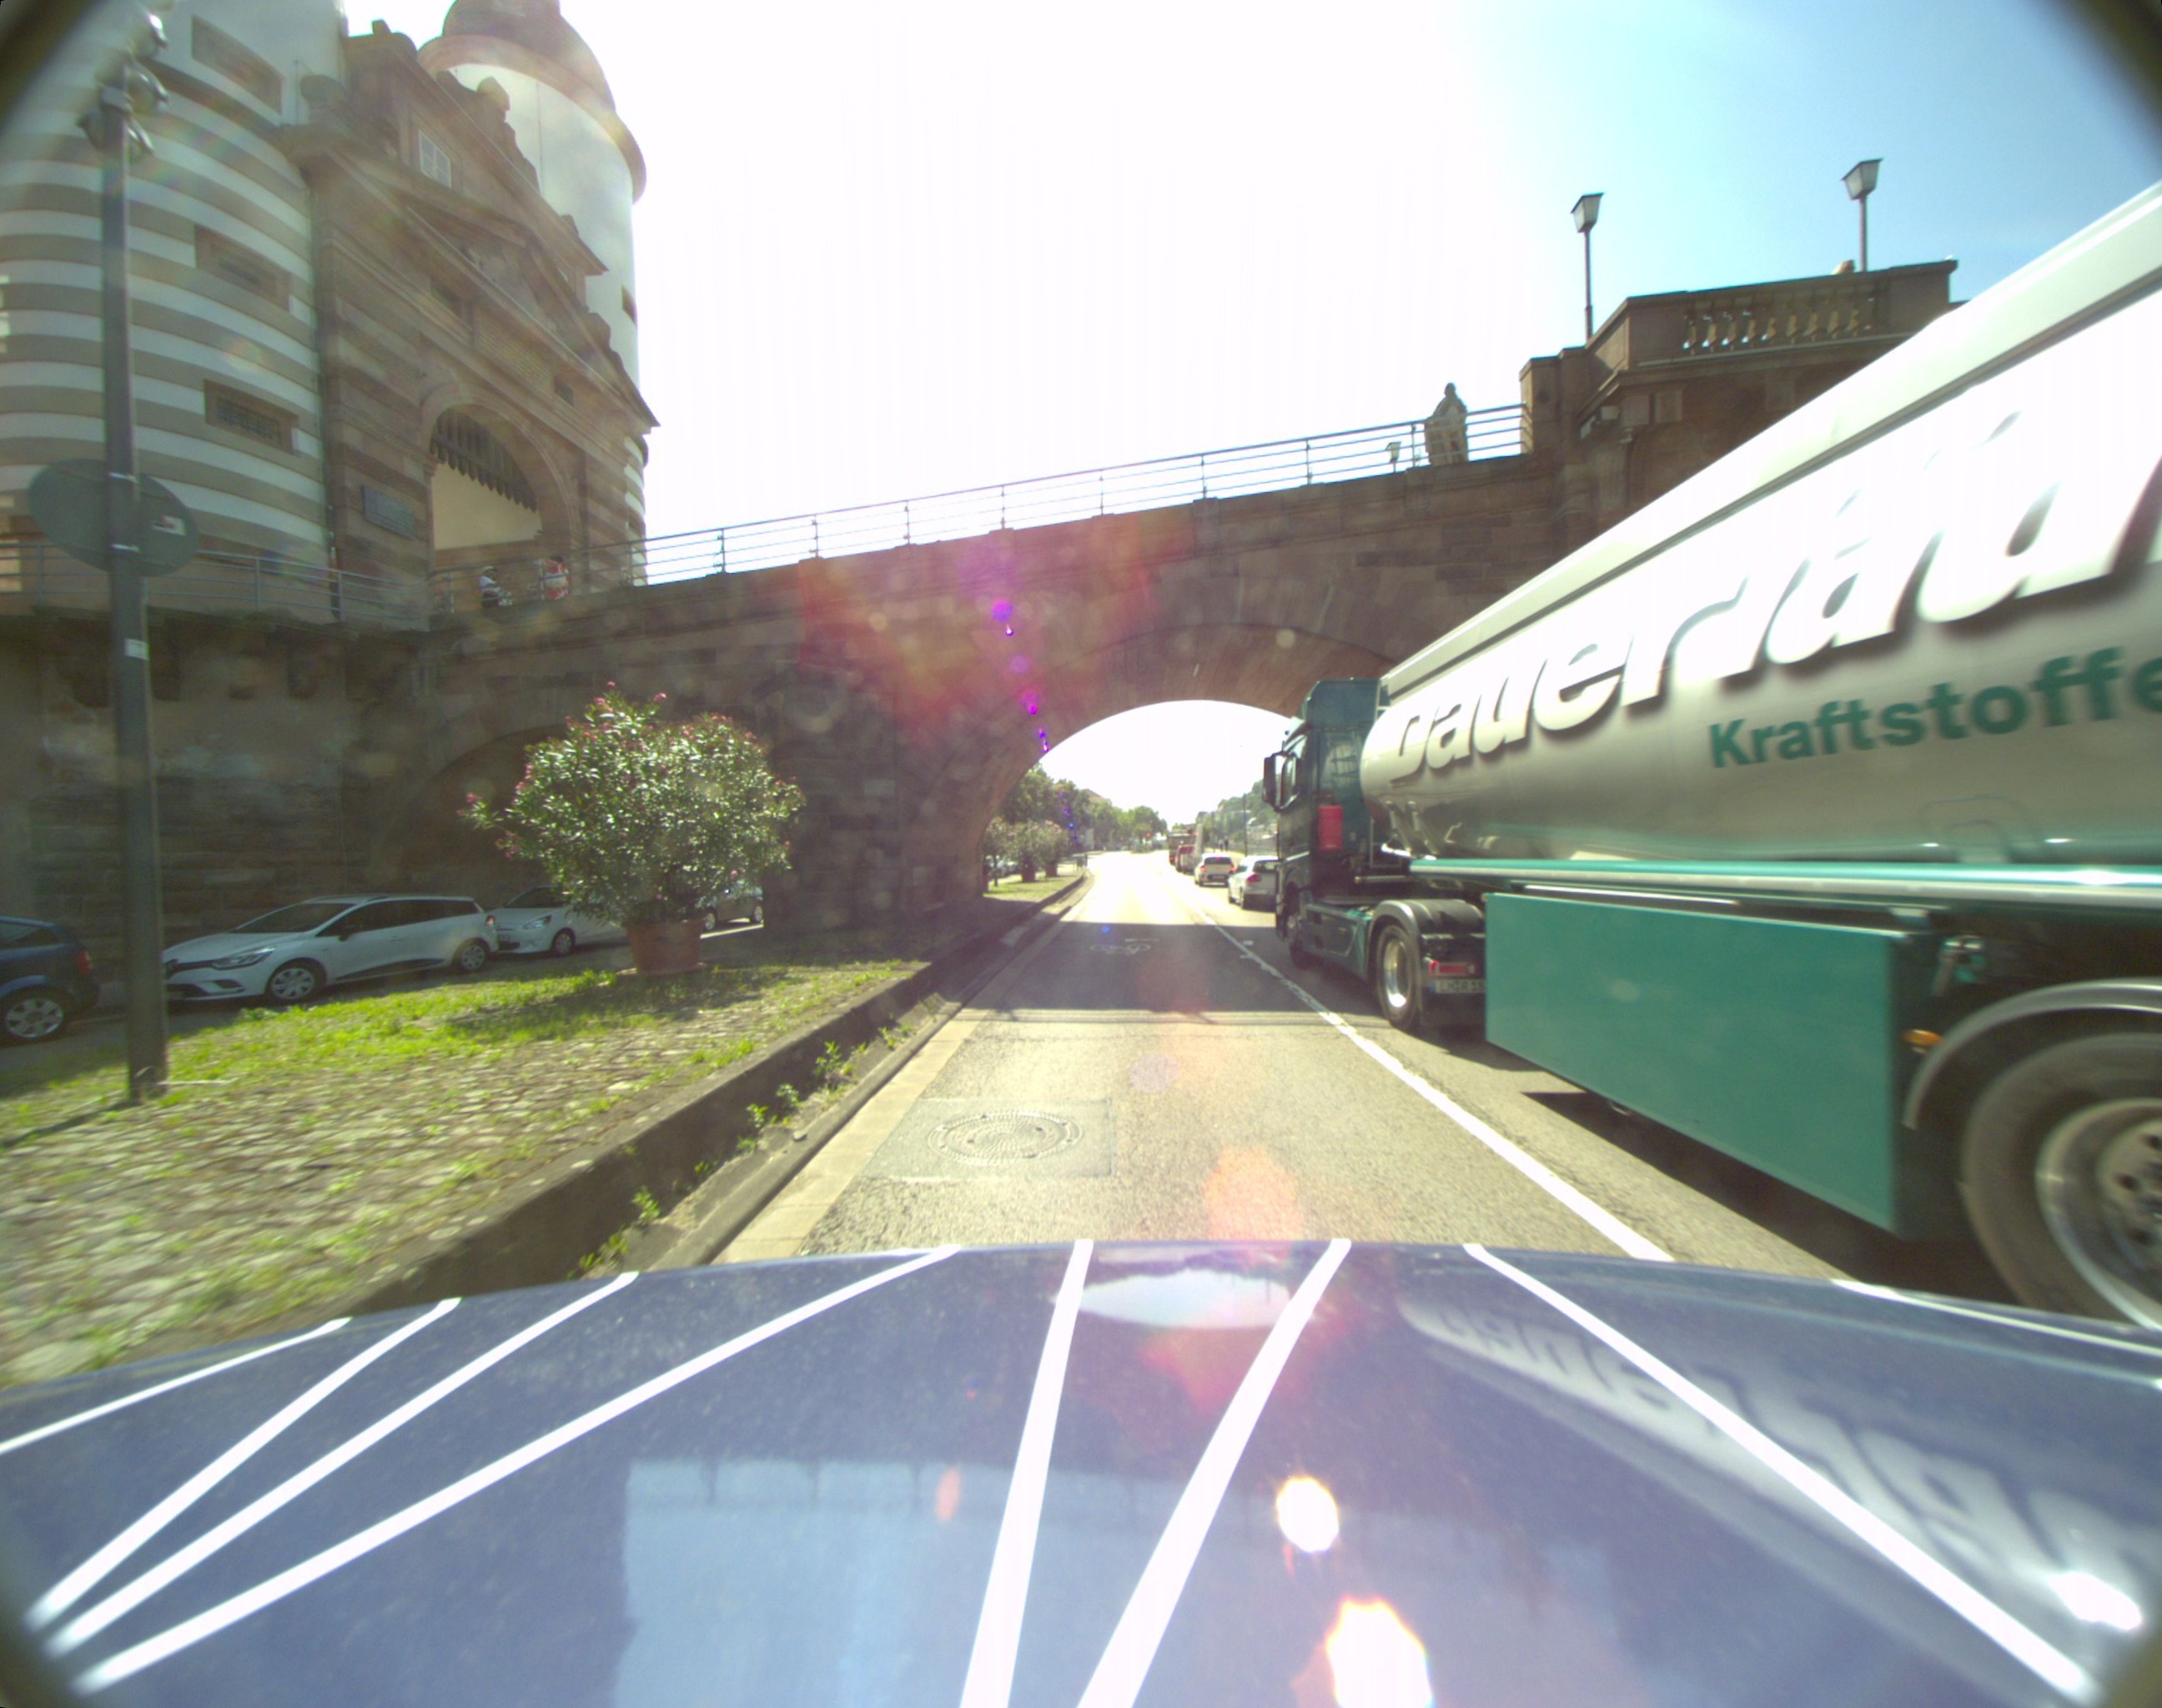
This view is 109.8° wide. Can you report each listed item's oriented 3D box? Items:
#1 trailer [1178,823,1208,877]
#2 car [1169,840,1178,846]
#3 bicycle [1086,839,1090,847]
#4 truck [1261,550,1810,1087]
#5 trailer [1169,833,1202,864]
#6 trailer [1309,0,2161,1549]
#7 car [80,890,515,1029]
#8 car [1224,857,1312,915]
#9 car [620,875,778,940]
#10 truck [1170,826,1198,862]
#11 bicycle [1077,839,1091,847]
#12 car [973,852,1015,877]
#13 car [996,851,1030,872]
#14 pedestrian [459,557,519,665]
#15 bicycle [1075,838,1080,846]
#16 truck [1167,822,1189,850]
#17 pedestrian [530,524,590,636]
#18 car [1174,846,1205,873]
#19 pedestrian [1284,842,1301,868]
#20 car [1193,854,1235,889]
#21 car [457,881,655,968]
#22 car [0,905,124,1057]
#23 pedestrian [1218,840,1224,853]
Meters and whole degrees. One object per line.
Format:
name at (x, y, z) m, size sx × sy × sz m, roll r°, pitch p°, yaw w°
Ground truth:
trailer at (7.178, -0.277, 49.027) m, size 1.745 × 3.301 × 3.384 m, roll 0°, pitch 1°, yaw 5°
car at (23.180, -2.739, 191.122) m, size 1.998 × 1.444 × 4.262 m, roll -2°, pitch 1°, yaw 4°
bicycle at (1.188, -1.726, 122.185) m, size 0.476 × 1.255 × 2.163 m, roll 1°, pitch 2°, yaw 5°
truck at (3.905, -0.222, 8.436) m, size 2.530 × 3.726 × 6.247 m, roll 0°, pitch 0°, yaw 2°
trailer at (9.107, -0.521, 66.862) m, size 2.703 × 2.517 × 6.948 m, roll 0°, pitch 2°, yaw 7°
trailer at (3.800, -0.200, 3.008) m, size 2.530 × 3.622 × 11.531 m, roll -1°, pitch 0°, yaw 1°
car at (-11.571, 1.449, 11.804) m, size 1.897 × 1.484 × 4.418 m, roll -1°, pitch 1°, yaw 6°
car at (5.281, 0.839, 21.955) m, size 1.727 × 1.428 × 4.401 m, roll 0°, pitch 1°, yaw 4°
car at (-10.581, 1.419, 21.506) m, size 1.779 × 1.428 × 4.494 m, roll -2°, pitch 1°, yaw 6°
truck at (10.160, -1.043, 75.505) m, size 2.647 × 3.437 × 7.872 m, roll 0°, pitch 2°, yaw 7°
bicycle at (0.498, -1.780, 125.147) m, size 2.159 × 1.360 × 0.477 m, roll 1°, pitch 2°, yaw 7°
car at (-5.814, 0.684, 51.459) m, size 1.757 × 1.424 × 4.757 m, roll -2°, pitch 1°, yaw 6°
car at (-4.983, 0.520, 56.119) m, size 1.615 × 1.405 × 3.905 m, roll -2°, pitch 1°, yaw 9°
pedestrian at (-12.341, -5.041, 15.860) m, size 0.580 × 2.002 × 0.707 m, roll -1°, pitch 2°, yaw 4°
bicycle at (-0.529, -1.714, 109.308) m, size 0.345 × 1.106 × 1.920 m, roll -1°, pitch 1°, yaw 11°
truck at (12.970, -2.364, 100.676) m, size 2.647 × 3.457 × 11.111 m, roll -1°, pitch 1°, yaw 8°
pedestrian at (-10.723, -5.618, 15.661) m, size 0.640 × 2.002 × 0.707 m, roll -1°, pitch 2°, yaw 4°
car at (7.589, 0.356, 53.639) m, size 1.878 × 1.817 × 4.545 m, roll 0°, pitch 1°, yaw 4°
pedestrian at (14.068, 0.043, 50.619) m, size 0.818 × 1.691 × 1.151 m, roll -2°, pitch 2°, yaw 5°
car at (6.085, 0.766, 35.061) m, size 1.538 × 1.428 × 3.728 m, roll 0°, pitch 1°, yaw 4°
car at (-11.026, 1.416, 16.302) m, size 1.557 × 1.468 × 3.668 m, roll -2°, pitch 1°, yaw 2°
car at (-12.406, 1.420, 7.158) m, size 1.674 × 1.533 × 3.813 m, roll -3°, pitch 0°, yaw 10°
pedestrian at (18.865, -0.955, 102.543) m, size 0.713 × 1.696 × 0.846 m, roll -2°, pitch 0°, yaw 9°
